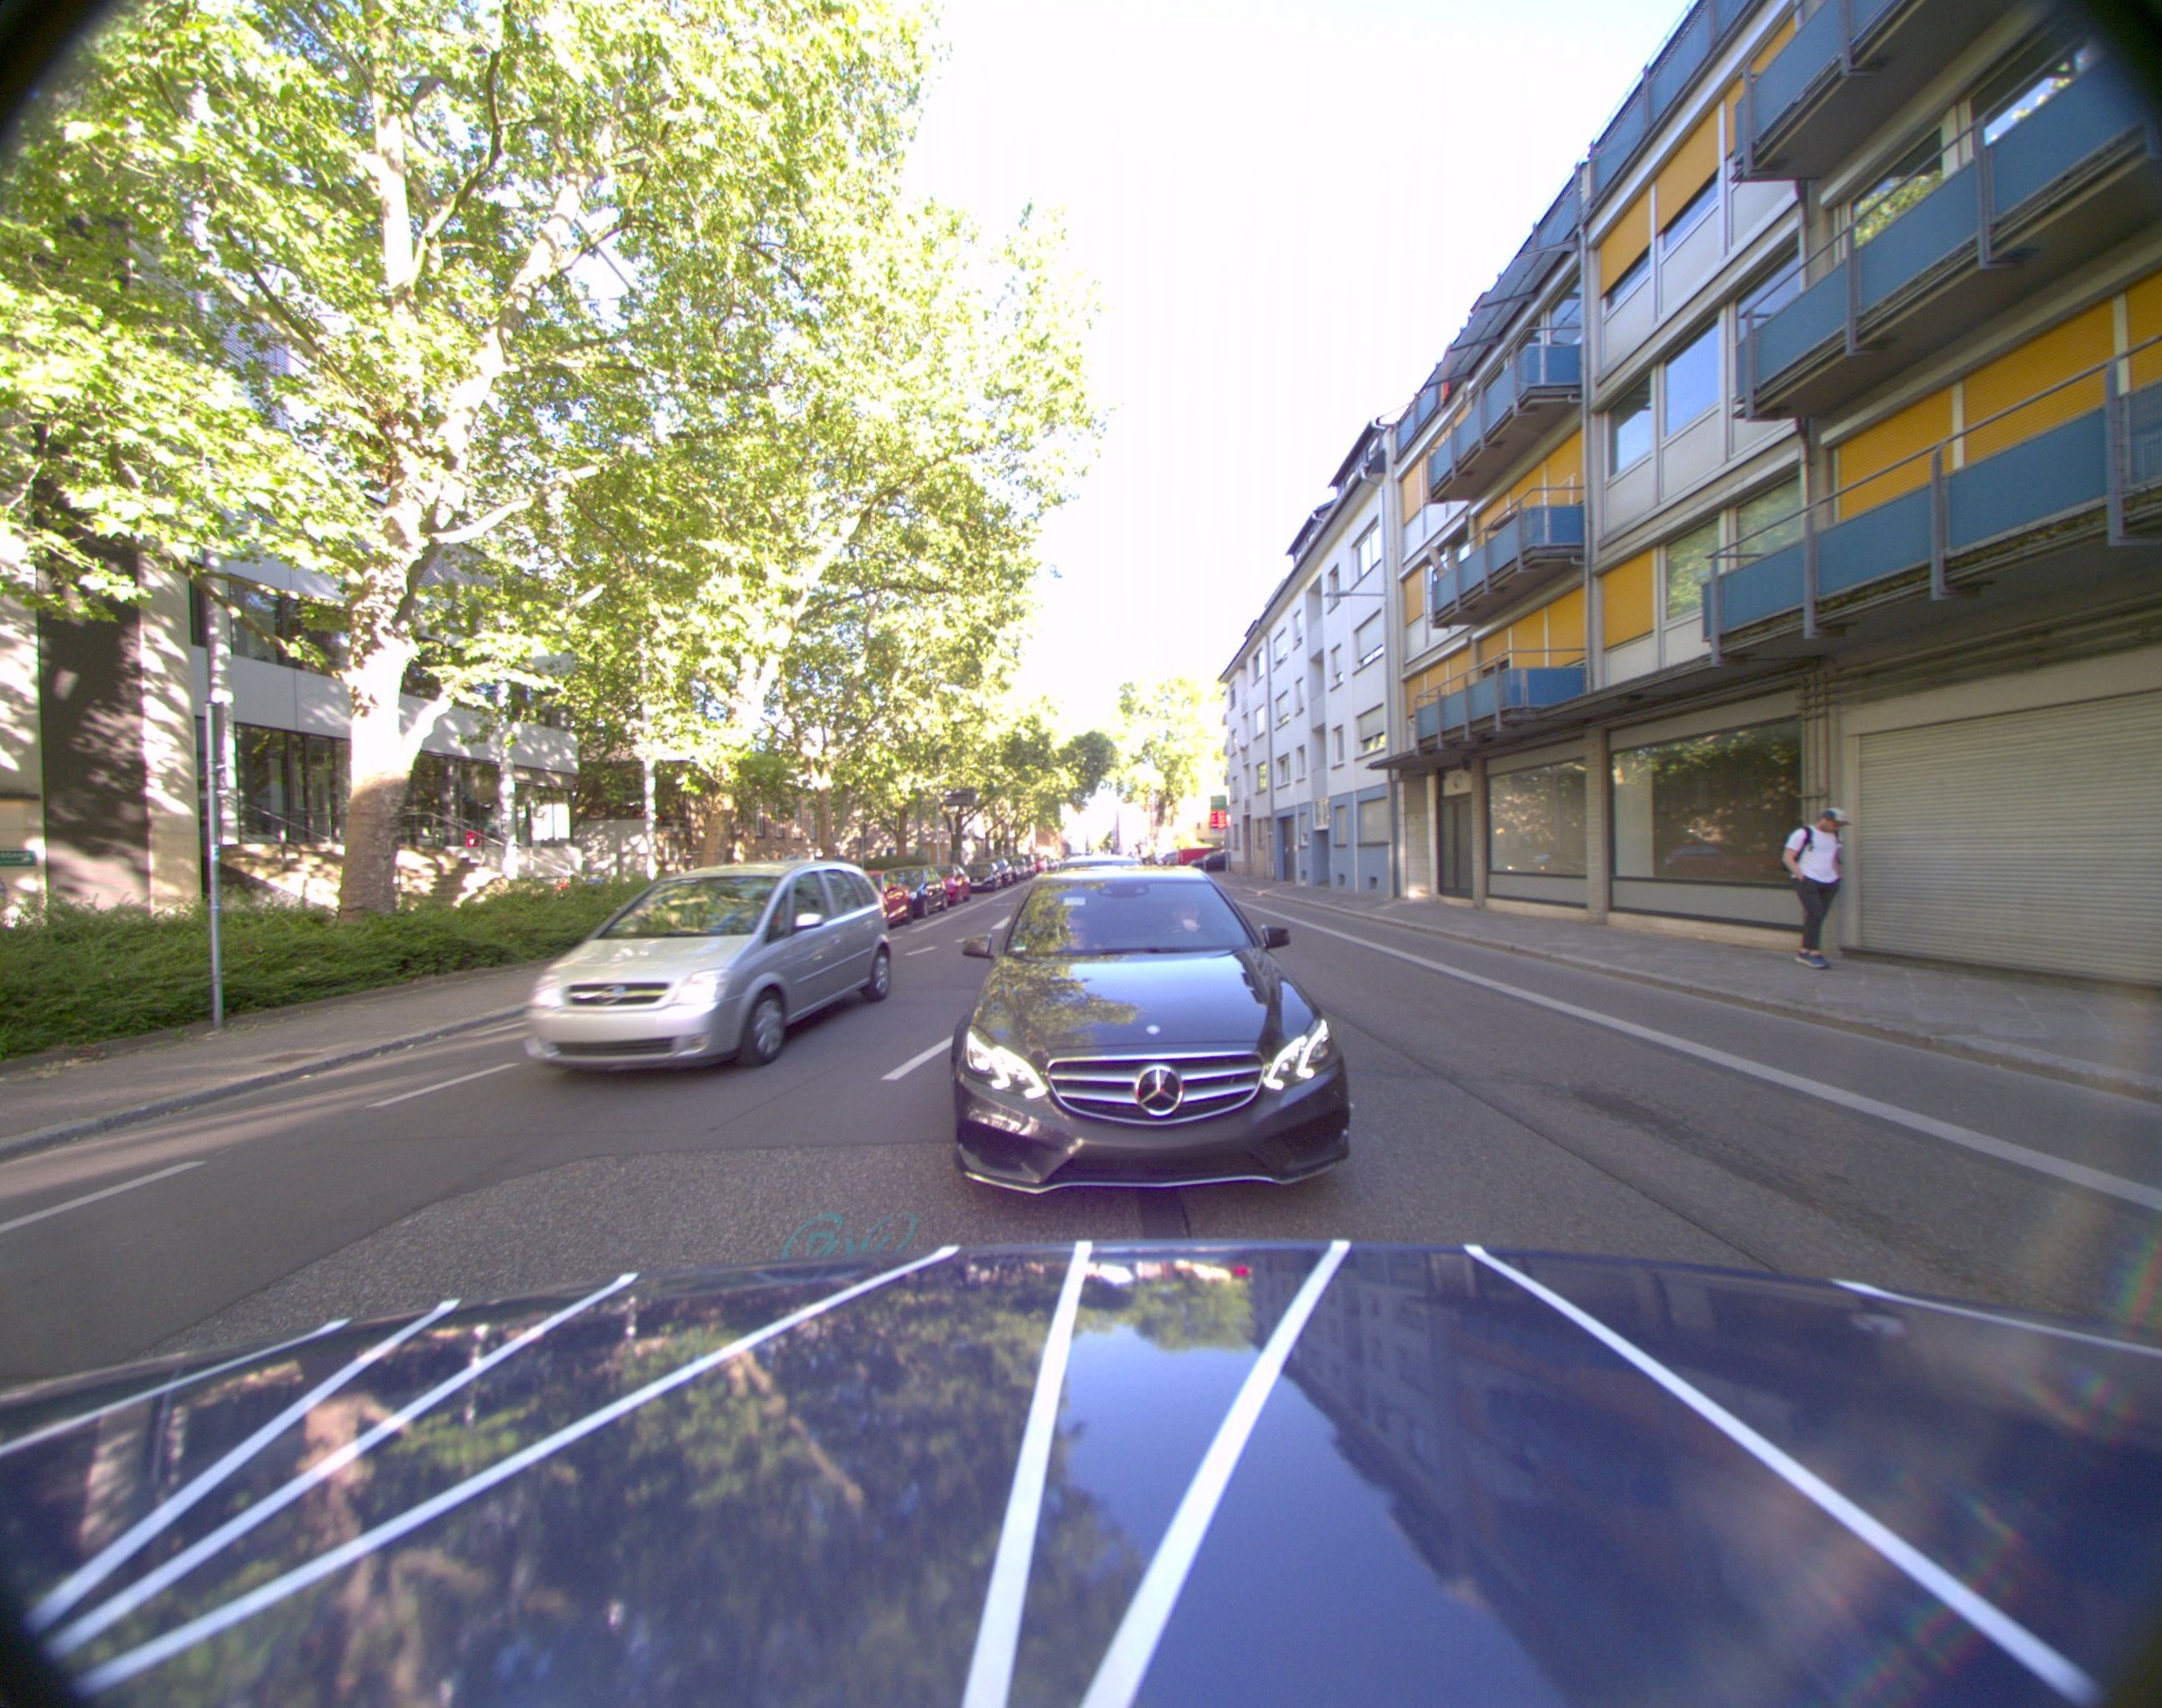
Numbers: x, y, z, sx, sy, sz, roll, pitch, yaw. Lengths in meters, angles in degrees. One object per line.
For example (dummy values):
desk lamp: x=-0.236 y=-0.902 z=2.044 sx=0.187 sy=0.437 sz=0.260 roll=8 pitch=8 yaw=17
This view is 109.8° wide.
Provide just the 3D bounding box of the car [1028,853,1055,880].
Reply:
car: x=-2.804 y=0.878 z=54.730 sx=1.741 sy=1.785 sz=3.895 roll=-2 pitch=0 yaw=0

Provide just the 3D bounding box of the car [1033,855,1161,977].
car: x=0.246 y=0.849 z=12.626 sx=1.646 sy=1.520 sz=4.619 roll=-4 pitch=0 yaw=1

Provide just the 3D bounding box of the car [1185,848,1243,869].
car: x=10.312 y=0.332 z=58.960 sx=4.146 sy=1.486 sz=2.000 roll=-2 pitch=0 yaw=1

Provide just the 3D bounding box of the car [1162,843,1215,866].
car: x=10.911 y=0.035 z=77.338 sx=4.991 sy=2.181 sz=2.000 roll=-2 pitch=1 yaw=1

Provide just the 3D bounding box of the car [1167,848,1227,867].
car: x=10.158 y=0.293 z=66.700 sx=4.990 sy=1.486 sz=2.000 roll=-2 pitch=0 yaw=1

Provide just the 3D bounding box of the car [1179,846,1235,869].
car: x=10.135 y=0.277 z=61.290 sx=4.146 sy=1.681 sz=2.000 roll=-2 pitch=0 yaw=1

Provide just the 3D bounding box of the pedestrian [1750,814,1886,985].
pedestrian: x=8.242 y=0.486 z=8.537 sx=0.601 sy=1.790 sz=0.879 roll=-3 pitch=1 yaw=1

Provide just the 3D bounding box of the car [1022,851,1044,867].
car: x=-4.386 y=0.444 z=70.443 sx=1.741 sy=1.469 sz=4.091 roll=-2 pitch=0 yaw=0

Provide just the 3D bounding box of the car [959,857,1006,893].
car: x=-4.778 y=0.992 z=37.454 sx=1.741 sy=1.622 sz=4.091 roll=-2 pitch=0 yaw=0

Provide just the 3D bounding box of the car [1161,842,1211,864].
car: x=11.030 y=-0.092 z=80.189 sx=4.991 sy=2.181 sz=2.000 roll=-2 pitch=1 yaw=1

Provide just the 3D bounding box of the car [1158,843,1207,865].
car: x=11.034 y=0.002 z=82.821 sx=4.991 sy=2.181 sz=2.000 roll=-2 pitch=1 yaw=1

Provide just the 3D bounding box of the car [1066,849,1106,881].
car: x=0.382 y=0.657 z=47.448 sx=1.784 sy=1.760 sz=4.387 roll=-4 pitch=0 yaw=9

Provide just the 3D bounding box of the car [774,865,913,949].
car: x=-5.301 y=1.115 z=17.578 sx=1.830 sy=1.519 sz=4.142 roll=-4 pitch=0 yaw=0

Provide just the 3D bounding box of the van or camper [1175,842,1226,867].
van or camper: x=10.056 y=0.032 z=64.197 sx=3.997 sy=2.002 sz=2.000 roll=-2 pitch=1 yaw=0

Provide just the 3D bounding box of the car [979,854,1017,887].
car: x=-4.567 y=0.893 z=42.310 sx=1.634 sy=1.677 sz=3.907 roll=-2 pitch=0 yaw=0

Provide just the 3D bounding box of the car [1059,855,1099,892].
car: x=-0.034 y=0.801 z=33.710 sx=1.648 sy=1.473 sz=3.976 roll=-1 pitch=0 yaw=1

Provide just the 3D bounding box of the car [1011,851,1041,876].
car: x=-4.279 y=0.728 z=59.669 sx=1.992 sy=1.795 sz=4.376 roll=-2 pitch=0 yaw=0

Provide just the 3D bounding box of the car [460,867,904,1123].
car: x=-3.122 y=0.981 z=6.973 sx=1.705 sy=1.593 sz=3.861 roll=-2 pitch=0 yaw=6

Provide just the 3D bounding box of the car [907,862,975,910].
car: x=-4.992 y=1.104 z=27.578 sx=1.681 sy=1.484 sz=3.918 roll=-4 pitch=0 yaw=0

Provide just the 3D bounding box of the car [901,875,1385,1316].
car: x=0.226 y=0.944 z=4.728 sx=1.740 sy=1.448 sz=3.864 roll=-2 pitch=0 yaw=0
